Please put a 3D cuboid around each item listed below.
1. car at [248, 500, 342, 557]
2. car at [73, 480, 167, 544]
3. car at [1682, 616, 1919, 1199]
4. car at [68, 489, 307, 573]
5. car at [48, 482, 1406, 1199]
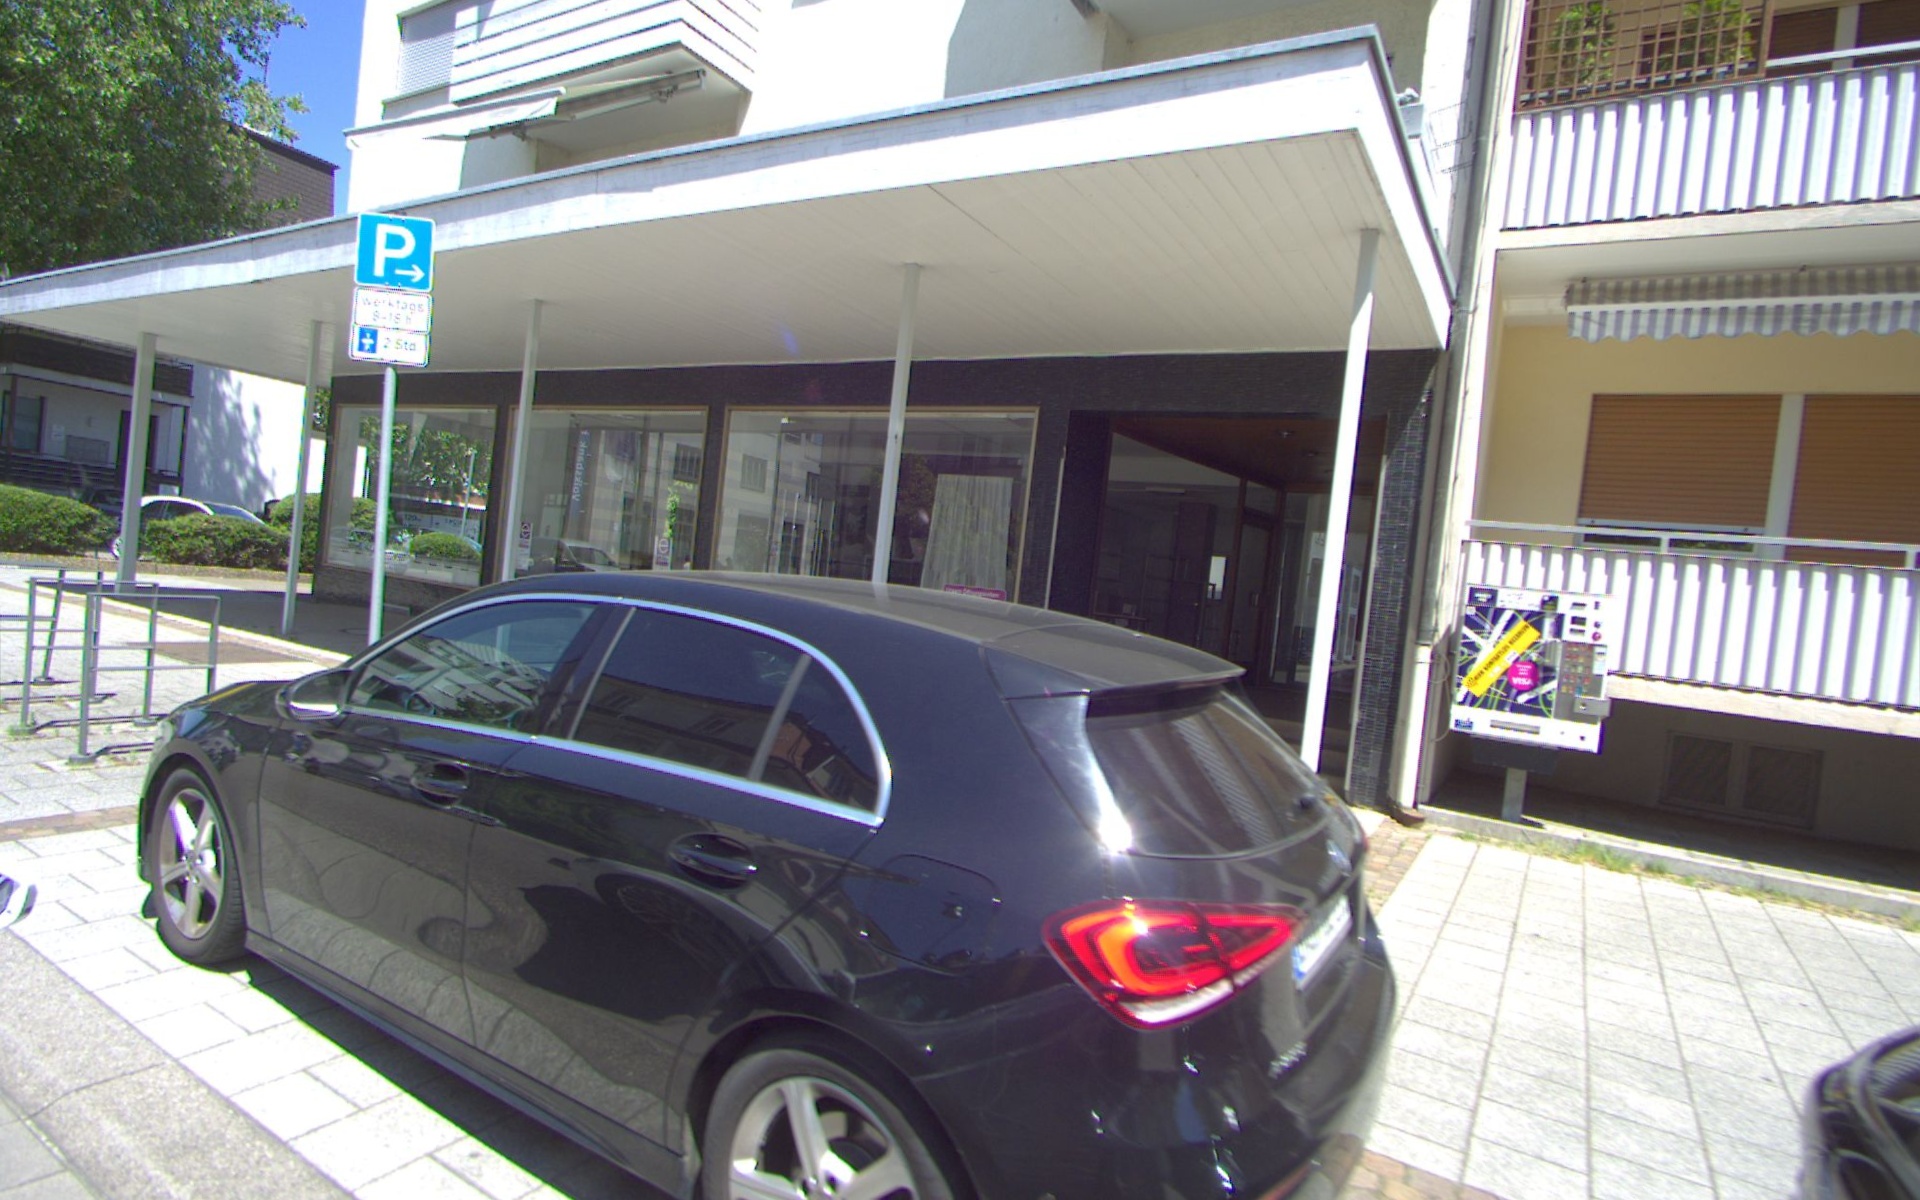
[{"bbox_3d":[-20.512,-2.224,30.979,1.835,1.473,3.952,2,3,-42],"label":"car"},{"bbox_3d":[-22.976,-2.411,27.462,1.835,1.473,3.952,2,3,-42],"label":"car"},{"bbox_3d":[3.339,1.003,0.581,4.494,1.550,1.895,6,2,32],"label":"car"},{"bbox_3d":[-17.010,-1.495,22.263,3.924,1.473,1.848,5,3,4],"label":"car"},{"bbox_3d":[-0.971,0.514,3.245,4.094,1.433,1.845,6,2,32],"label":"car"}]
